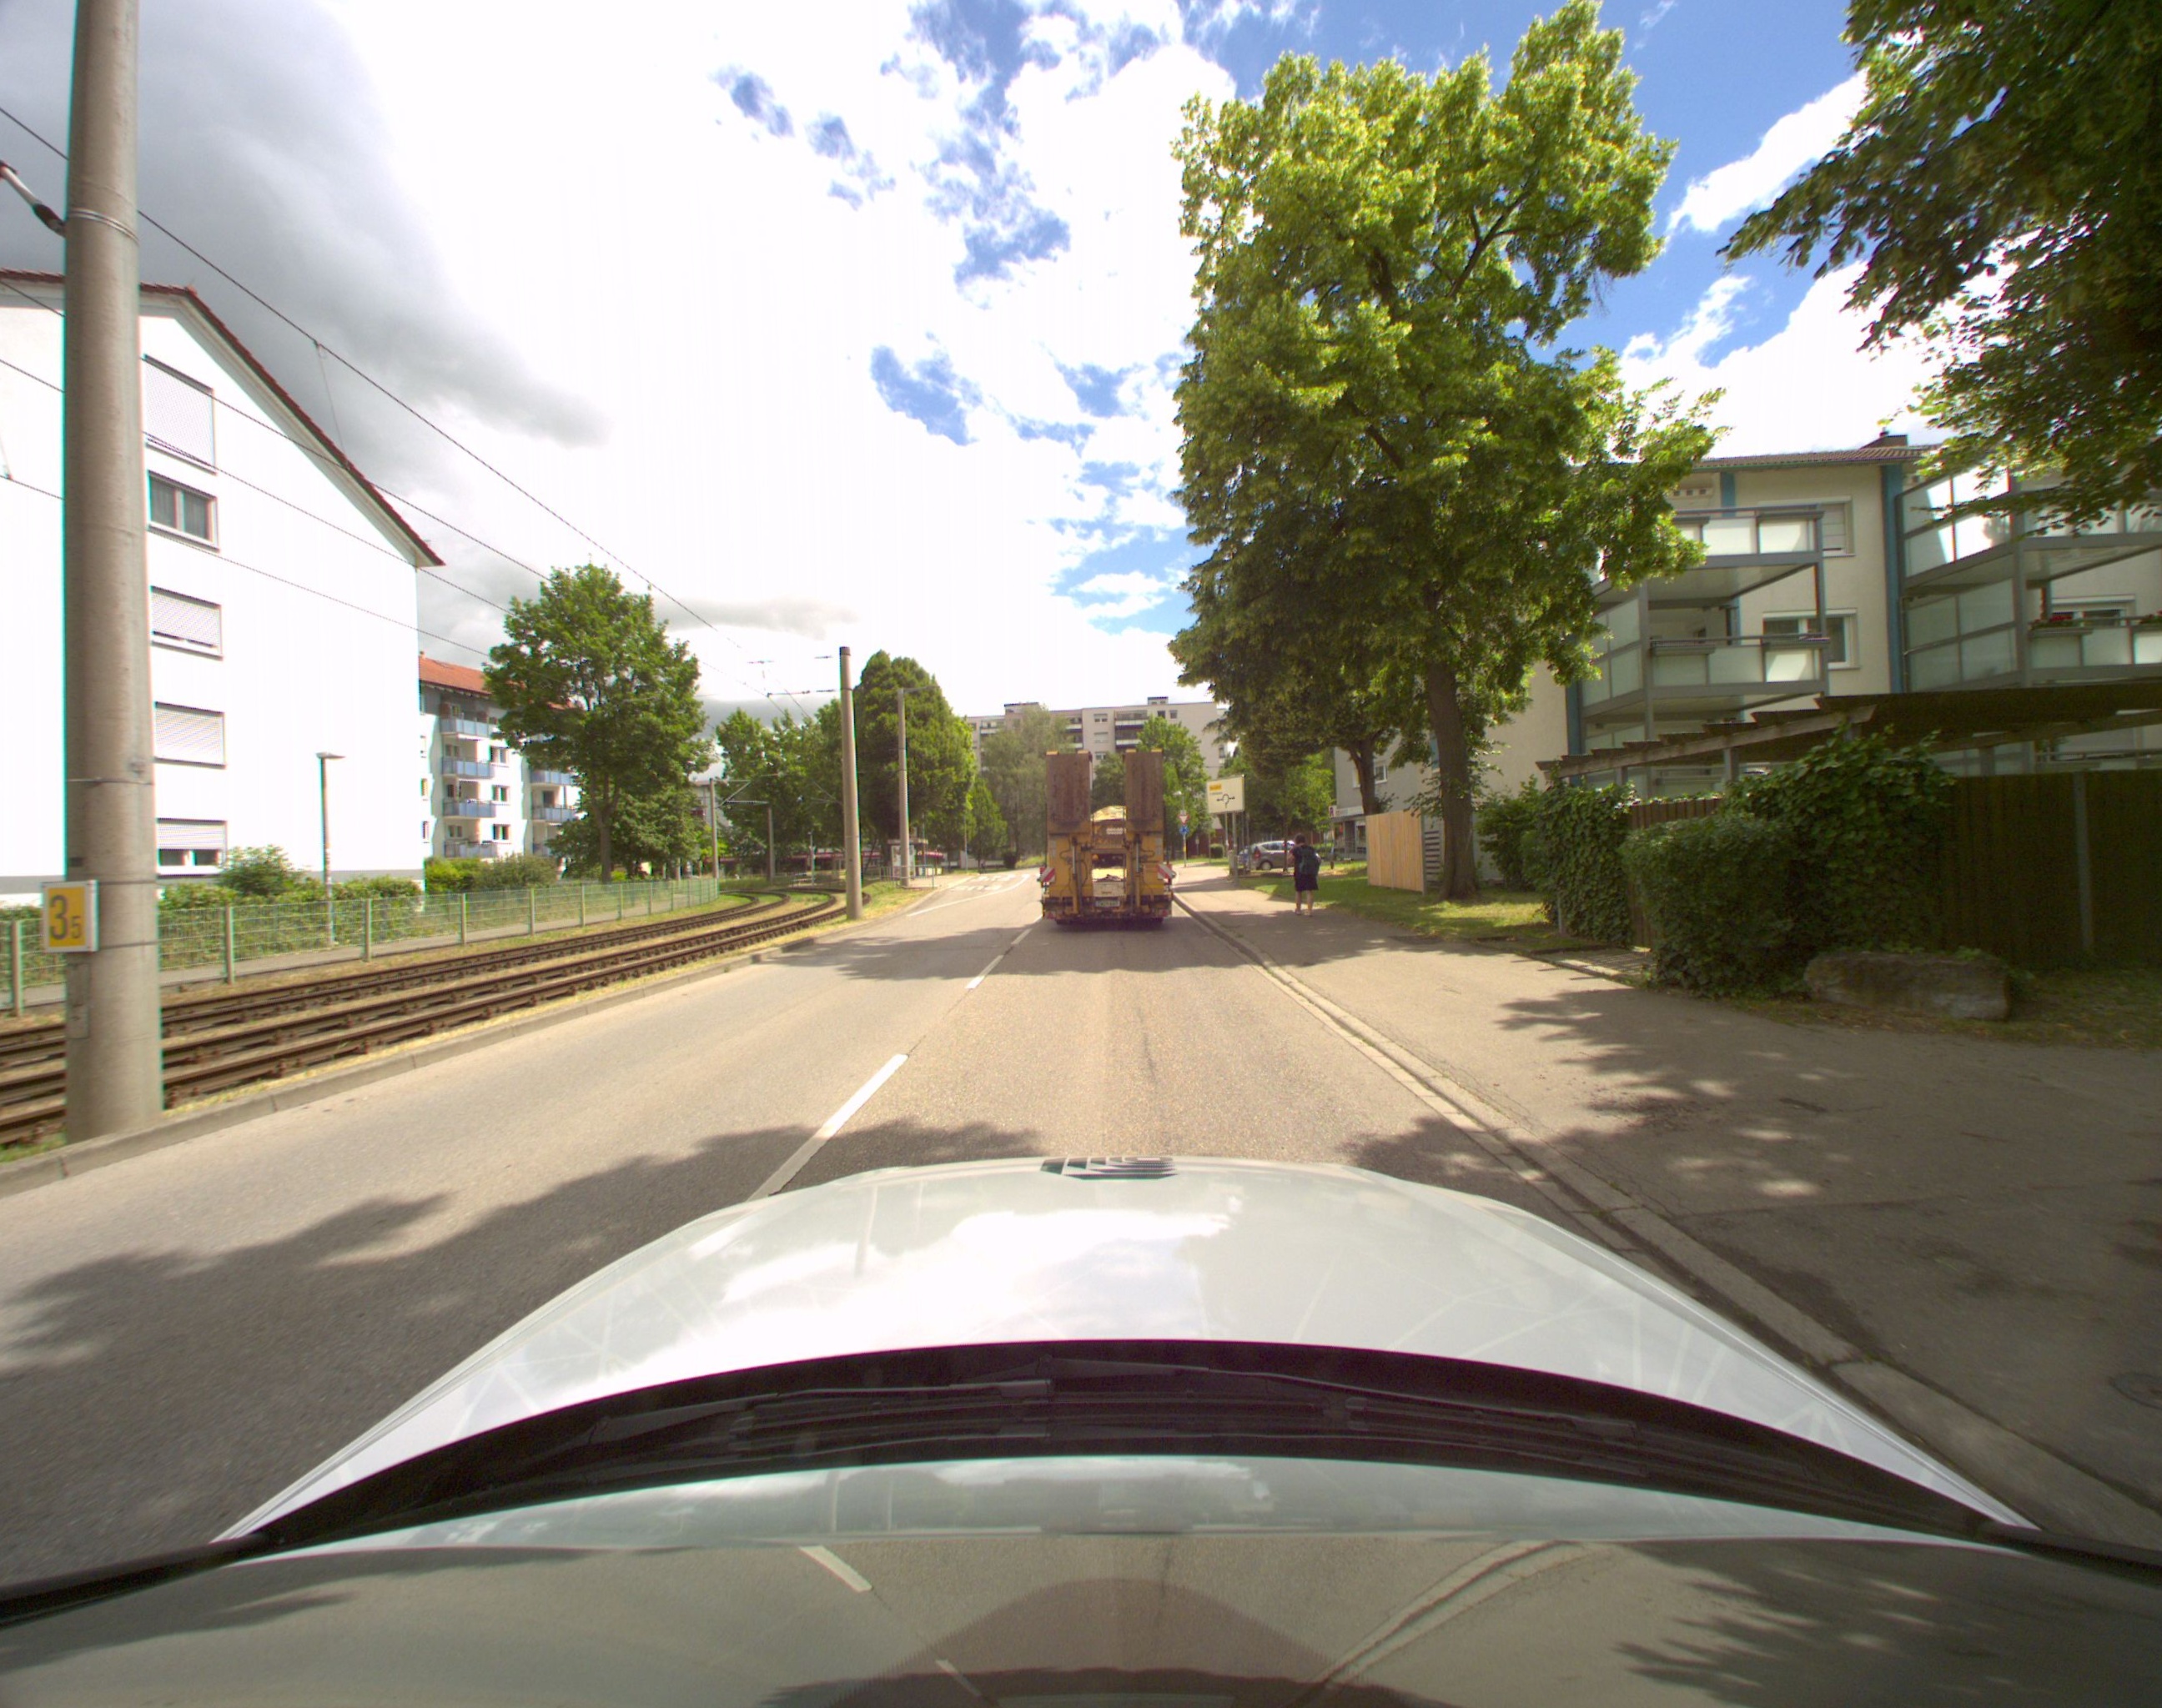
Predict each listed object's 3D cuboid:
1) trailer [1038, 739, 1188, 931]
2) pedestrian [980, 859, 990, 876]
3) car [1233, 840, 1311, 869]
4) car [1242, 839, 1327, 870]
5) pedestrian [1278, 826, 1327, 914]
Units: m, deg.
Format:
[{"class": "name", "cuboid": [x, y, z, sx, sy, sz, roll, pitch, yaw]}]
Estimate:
[{"class": "trailer", "cuboid": [0.566, -0.388, 21.769, 2.818, 3.646, 12.350, -1, 0, -1]}, {"class": "pedestrian", "cuboid": [-11.313, 1.550, 96.208, 0.913, 2.013, 0.953, -1, 0, -29]}, {"class": "car", "cuboid": [10.839, 0.018, 46.347, 3.988, 1.561, 1.753, -1, 0, -11]}, {"class": "car", "cuboid": [10.697, 0.032, 42.920, 3.988, 1.561, 1.753, -1, 0, -11]}, {"class": "pedestrian", "cuboid": [4.498, 0.320, 16.571, 0.715, 1.706, 0.766, -3, 0, 1]}]
